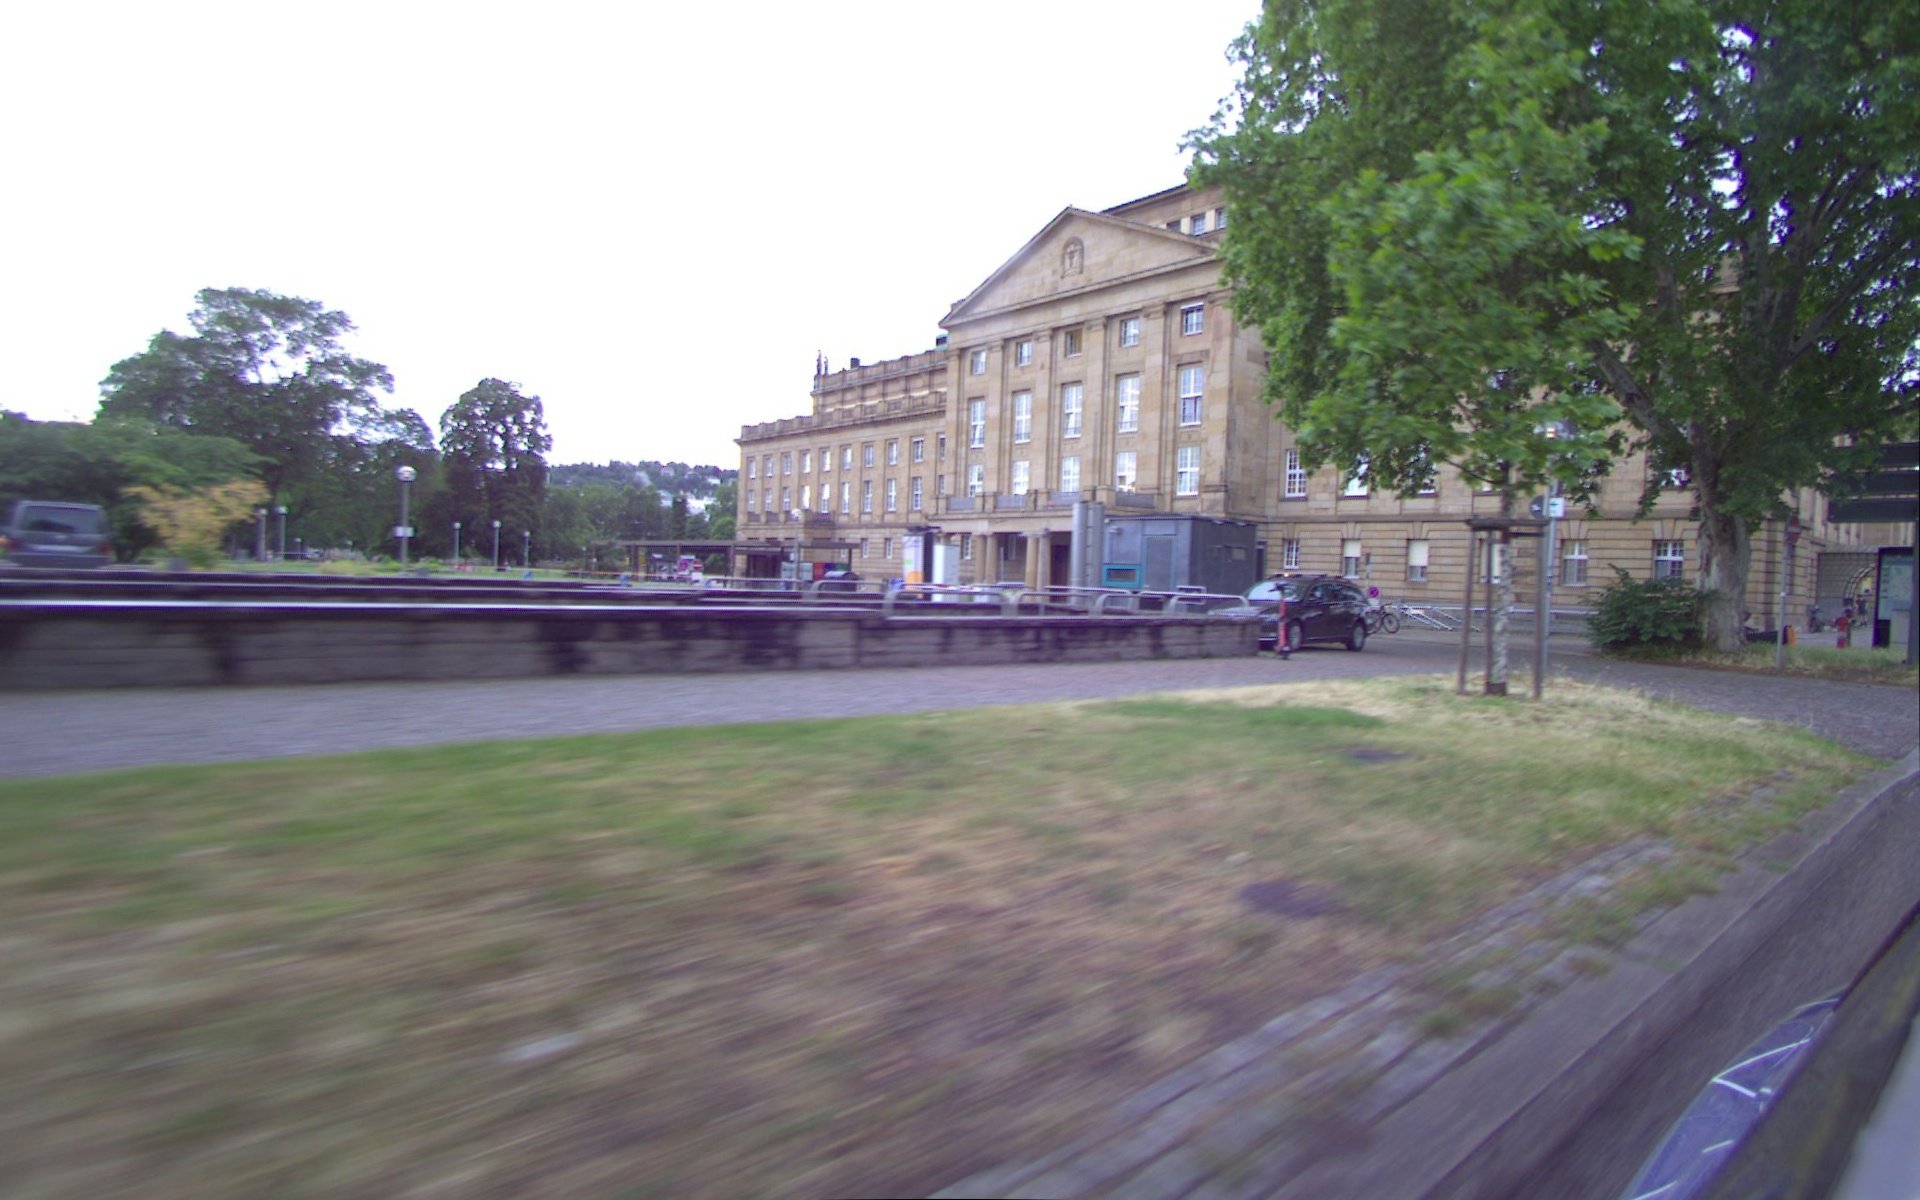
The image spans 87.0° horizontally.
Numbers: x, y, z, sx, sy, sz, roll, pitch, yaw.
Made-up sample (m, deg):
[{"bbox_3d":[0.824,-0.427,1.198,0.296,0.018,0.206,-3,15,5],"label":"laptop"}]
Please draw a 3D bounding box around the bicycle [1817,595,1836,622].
[{"bbox_3d":[37.176,0.367,43.419,1.759,1.093,0.352,-1,4,-43],"label":"bicycle"}]

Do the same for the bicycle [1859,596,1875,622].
[{"bbox_3d":[45.583,0.451,50.863,1.664,1.230,0.464,-1,2,-44],"label":"bicycle"}]

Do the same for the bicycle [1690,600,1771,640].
[{"bbox_3d":[20.844,0.525,27.402,0.564,1.033,1.645,0,0,-36],"label":"bicycle"}]

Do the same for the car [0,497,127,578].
[{"bbox_3d":[-22.534,-1.518,25.208,2.420,1.785,5.012,0,2,-43],"label":"car"}]

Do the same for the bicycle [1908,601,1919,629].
[{"bbox_3d":[34.943,0.561,36.082,0.515,1.007,1.593,0,1,-39],"label":"bicycle"}]

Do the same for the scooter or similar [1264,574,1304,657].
[{"bbox_3d":[5.297,0.227,16.589,0.536,1.271,1.430,3,2,17],"label":"scooter or similar"}]

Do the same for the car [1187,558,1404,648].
[{"bbox_3d":[7.037,0.076,20.884,5.147,1.630,1.996,2,0,-43],"label":"car"}]

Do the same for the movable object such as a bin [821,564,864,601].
[{"bbox_3d":[-5.100,-0.770,43.797,1.227,1.474,1.494,0,4,-39],"label":"movable object such as a bin"}]

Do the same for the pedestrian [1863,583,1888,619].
[{"bbox_3d":[47.726,0.065,52.746,0.631,1.798,0.797,0,5,-42],"label":"pedestrian"}]

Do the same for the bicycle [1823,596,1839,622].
[{"bbox_3d":[38.318,0.381,44.528,1.759,1.093,0.352,-1,1,-43],"label":"bicycle"}]

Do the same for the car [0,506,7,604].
[{"bbox_3d":[-15.632,-0.664,15.141,1.626,1.619,3.999,0,3,-38],"label":"car"}]

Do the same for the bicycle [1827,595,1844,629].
[{"bbox_3d":[40.408,0.543,46.691,1.573,1.535,0.454,0,0,-44],"label":"bicycle"}]

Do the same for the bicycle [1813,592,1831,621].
[{"bbox_3d":[37.651,0.276,44.188,1.573,1.267,0.454,0,0,-44],"label":"bicycle"}]

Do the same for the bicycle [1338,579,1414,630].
[{"bbox_3d":[14.377,0.121,34.996,2.315,1.687,0.763,2,2,43],"label":"bicycle"}]
